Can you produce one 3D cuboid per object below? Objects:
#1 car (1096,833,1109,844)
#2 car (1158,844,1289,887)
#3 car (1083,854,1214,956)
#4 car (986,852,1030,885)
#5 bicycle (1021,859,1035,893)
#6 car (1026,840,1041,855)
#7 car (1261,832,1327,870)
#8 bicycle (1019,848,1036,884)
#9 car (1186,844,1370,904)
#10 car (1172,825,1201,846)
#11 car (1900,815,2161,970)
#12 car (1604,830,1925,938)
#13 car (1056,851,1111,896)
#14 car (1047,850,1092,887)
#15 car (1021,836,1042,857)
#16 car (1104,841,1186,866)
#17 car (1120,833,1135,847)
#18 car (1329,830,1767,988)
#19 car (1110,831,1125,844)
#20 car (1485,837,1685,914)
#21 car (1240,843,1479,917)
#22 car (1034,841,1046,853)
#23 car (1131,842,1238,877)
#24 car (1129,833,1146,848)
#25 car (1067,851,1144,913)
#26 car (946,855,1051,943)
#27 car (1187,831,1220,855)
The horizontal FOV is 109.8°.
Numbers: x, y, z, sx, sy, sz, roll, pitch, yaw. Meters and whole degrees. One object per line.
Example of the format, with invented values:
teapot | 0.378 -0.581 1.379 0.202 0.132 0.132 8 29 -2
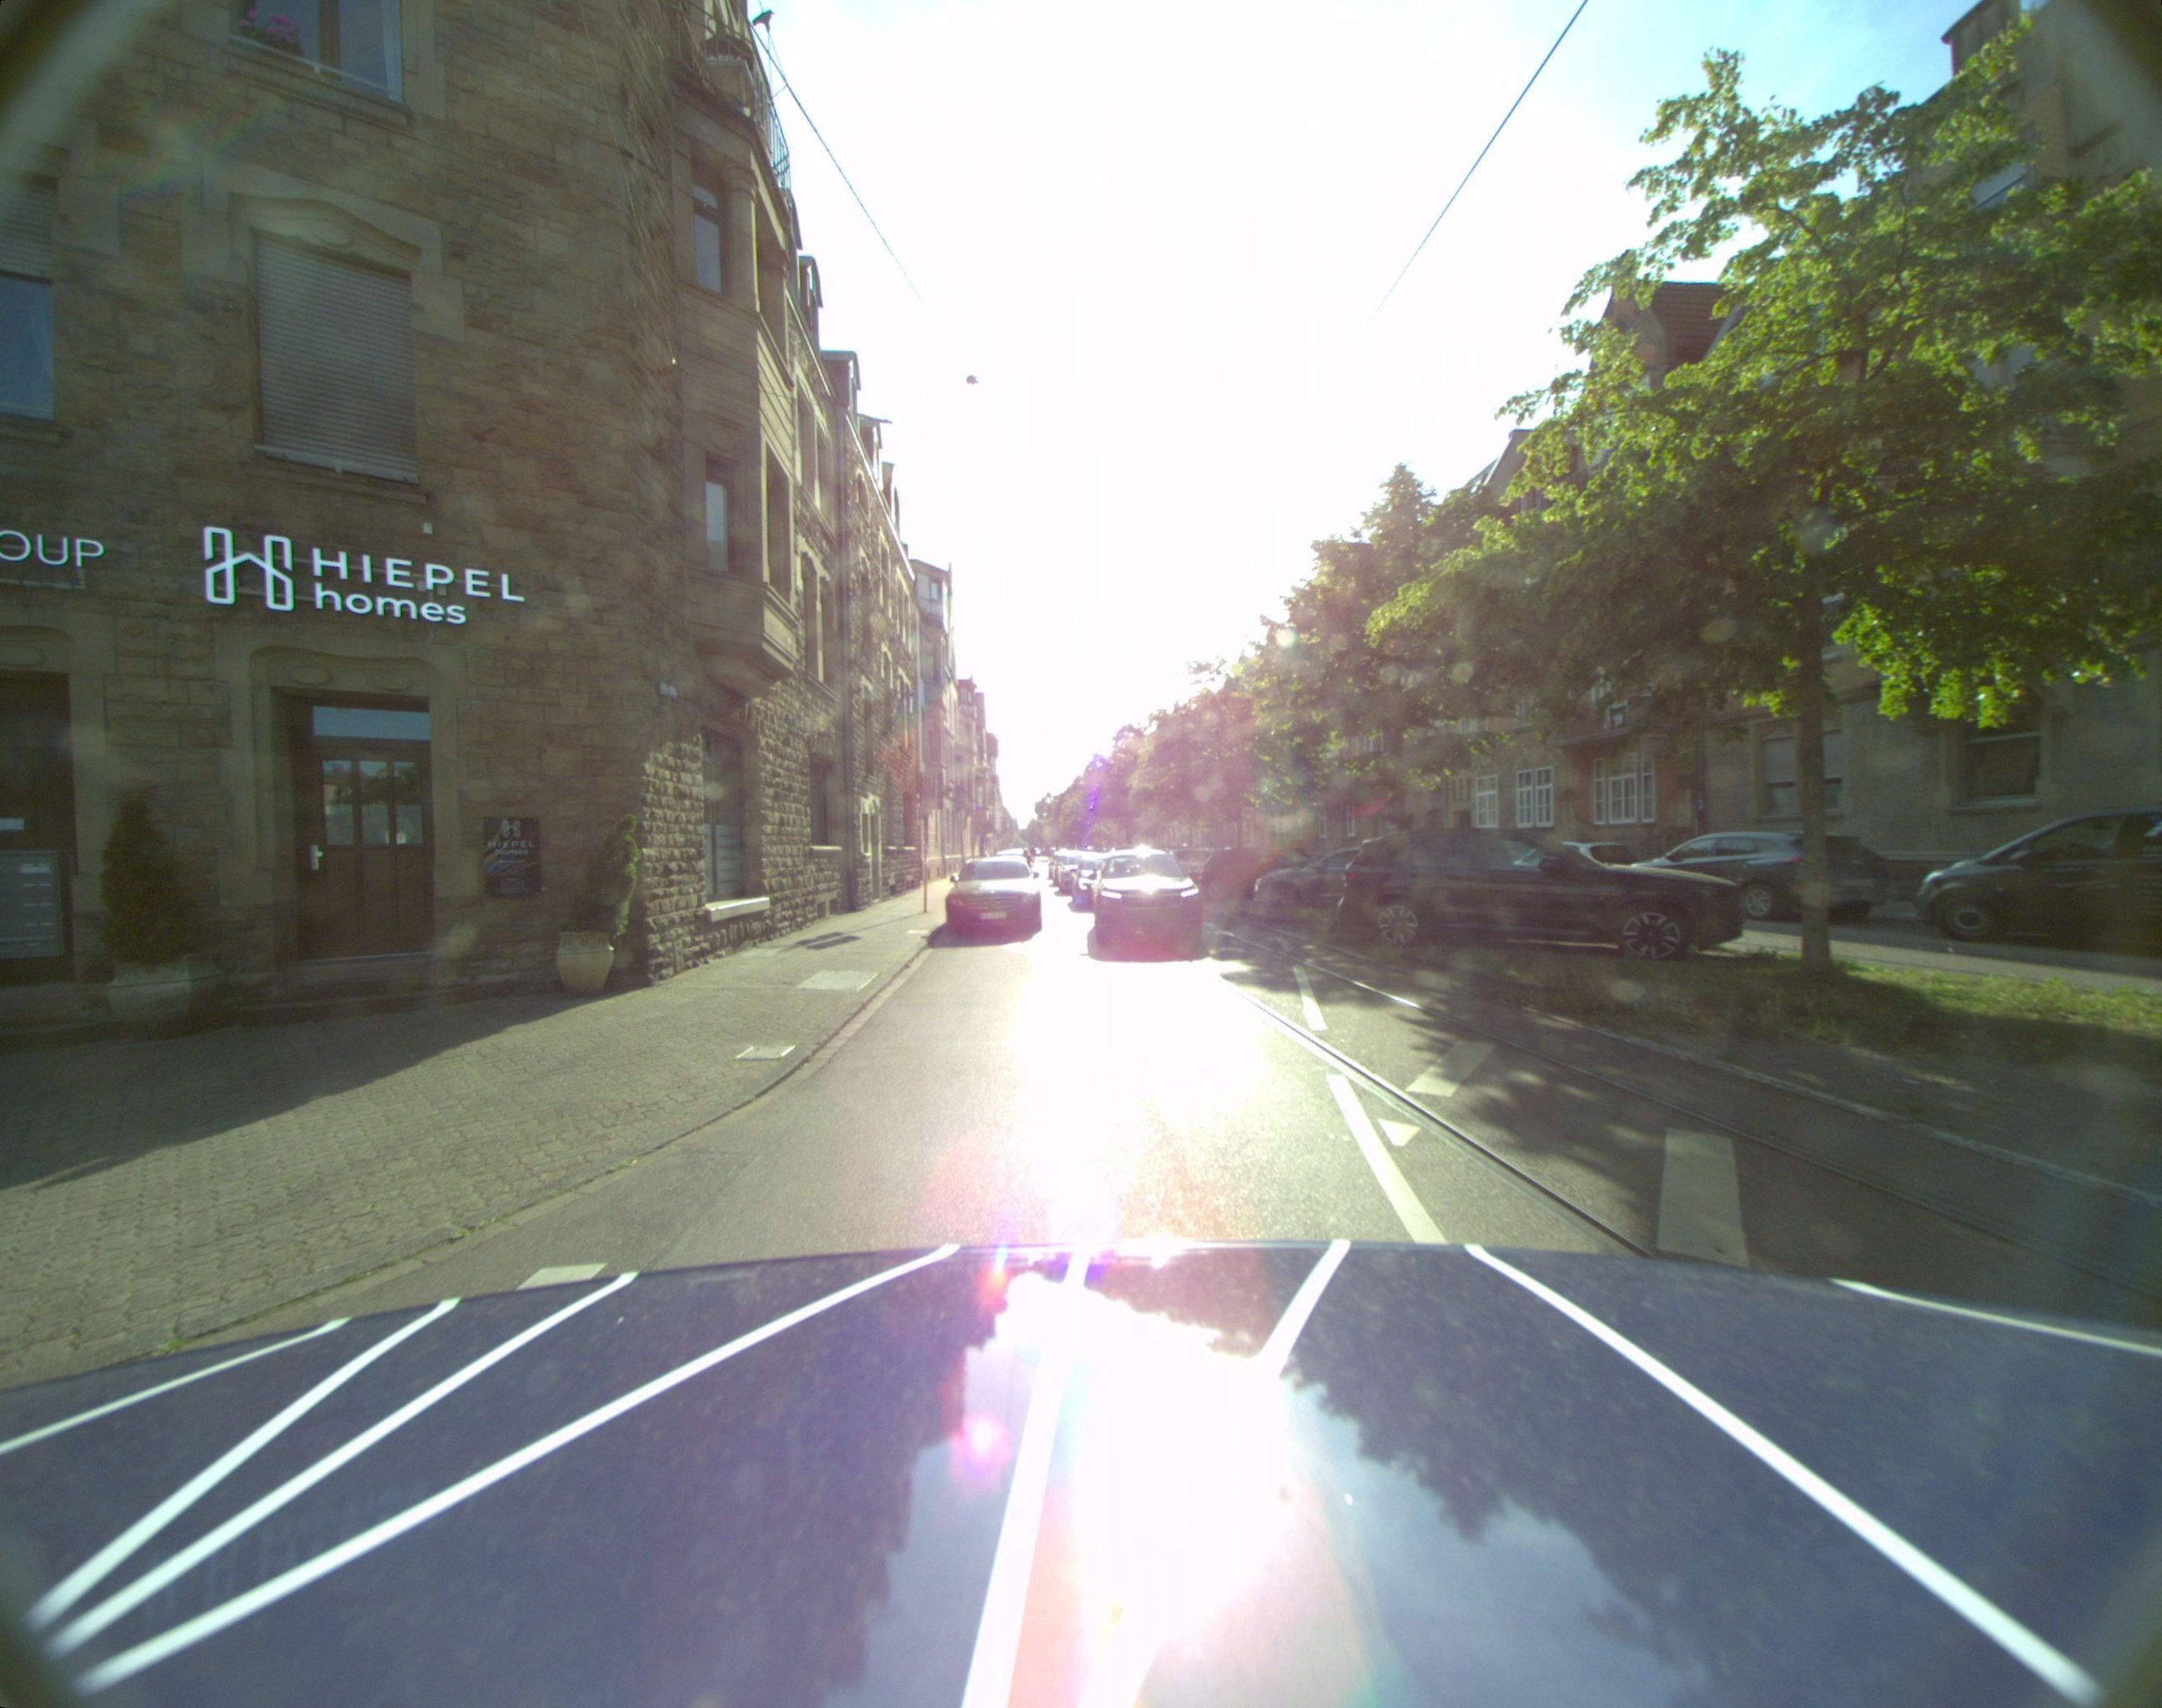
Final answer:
car | 4.279 -3.042 151.168 1.999 2.002 3.998 -2 1 -5
car | 5.046 0.425 27.198 4.260 1.414 1.685 -2 1 37
car | 1.038 0.775 13.628 1.840 1.472 3.999 -1 1 -2
car | -3.555 0.671 37.494 1.840 1.472 3.999 -2 1 -2
bicycle | -1.969 0.804 28.237 0.484 1.183 1.338 -2 1 -4
car | -6.701 -0.908 106.712 1.999 2.002 3.998 -1 1 -4
car | 11.544 -0.173 41.562 2.171 1.890 4.609 -2 1 -2
bicycle | -1.984 0.450 28.244 0.575 1.290 0.688 -2 1 -4
car | 5.193 0.519 20.293 4.294 1.414 1.963 -2 1 37
car | 10.361 -1.796 75.064 1.999 2.002 3.998 -2 1 -4
car | 13.360 0.405 8.992 2.171 1.740 4.716 -2 1 -2
car | 13.199 0.485 15.202 2.171 1.740 4.609 -2 1 -2
car | 0.034 0.674 28.322 1.840 1.472 3.999 -2 1 -2
car | -0.571 0.592 34.239 1.840 1.472 3.999 -2 1 -2
car | -4.883 -0.735 74.953 1.999 2.002 3.998 -1 1 -4
car | 3.759 -0.017 44.566 4.259 1.414 2.176 -1 1 37
car | 7.109 -2.154 117.088 1.999 2.002 3.999 -2 1 -1
car | 6.117 0.579 10.367 4.704 1.681 2.176 -1 1 39
car | 6.189 -2.765 129.616 1.999 2.002 3.998 -2 1 -5
car | 13.247 0.487 20.408 2.171 1.740 4.609 -2 1 -2
car | 5.962 0.551 16.458 4.598 1.374 1.704 -2 1 31
car | -7.591 -1.297 141.407 1.998 2.002 3.999 -2 1 1
car | 4.678 0.257 34.576 4.260 1.414 2.176 -2 1 37
car | 7.813 -1.892 105.834 1.999 2.002 3.999 -2 1 -1
car | 0.579 0.695 21.052 1.840 1.472 3.999 -2 1 -2
car | -1.696 0.827 16.010 1.841 1.494 4.263 -2 1 -5
car | 10.861 -0.928 67.764 1.999 2.002 3.998 -2 1 -4
